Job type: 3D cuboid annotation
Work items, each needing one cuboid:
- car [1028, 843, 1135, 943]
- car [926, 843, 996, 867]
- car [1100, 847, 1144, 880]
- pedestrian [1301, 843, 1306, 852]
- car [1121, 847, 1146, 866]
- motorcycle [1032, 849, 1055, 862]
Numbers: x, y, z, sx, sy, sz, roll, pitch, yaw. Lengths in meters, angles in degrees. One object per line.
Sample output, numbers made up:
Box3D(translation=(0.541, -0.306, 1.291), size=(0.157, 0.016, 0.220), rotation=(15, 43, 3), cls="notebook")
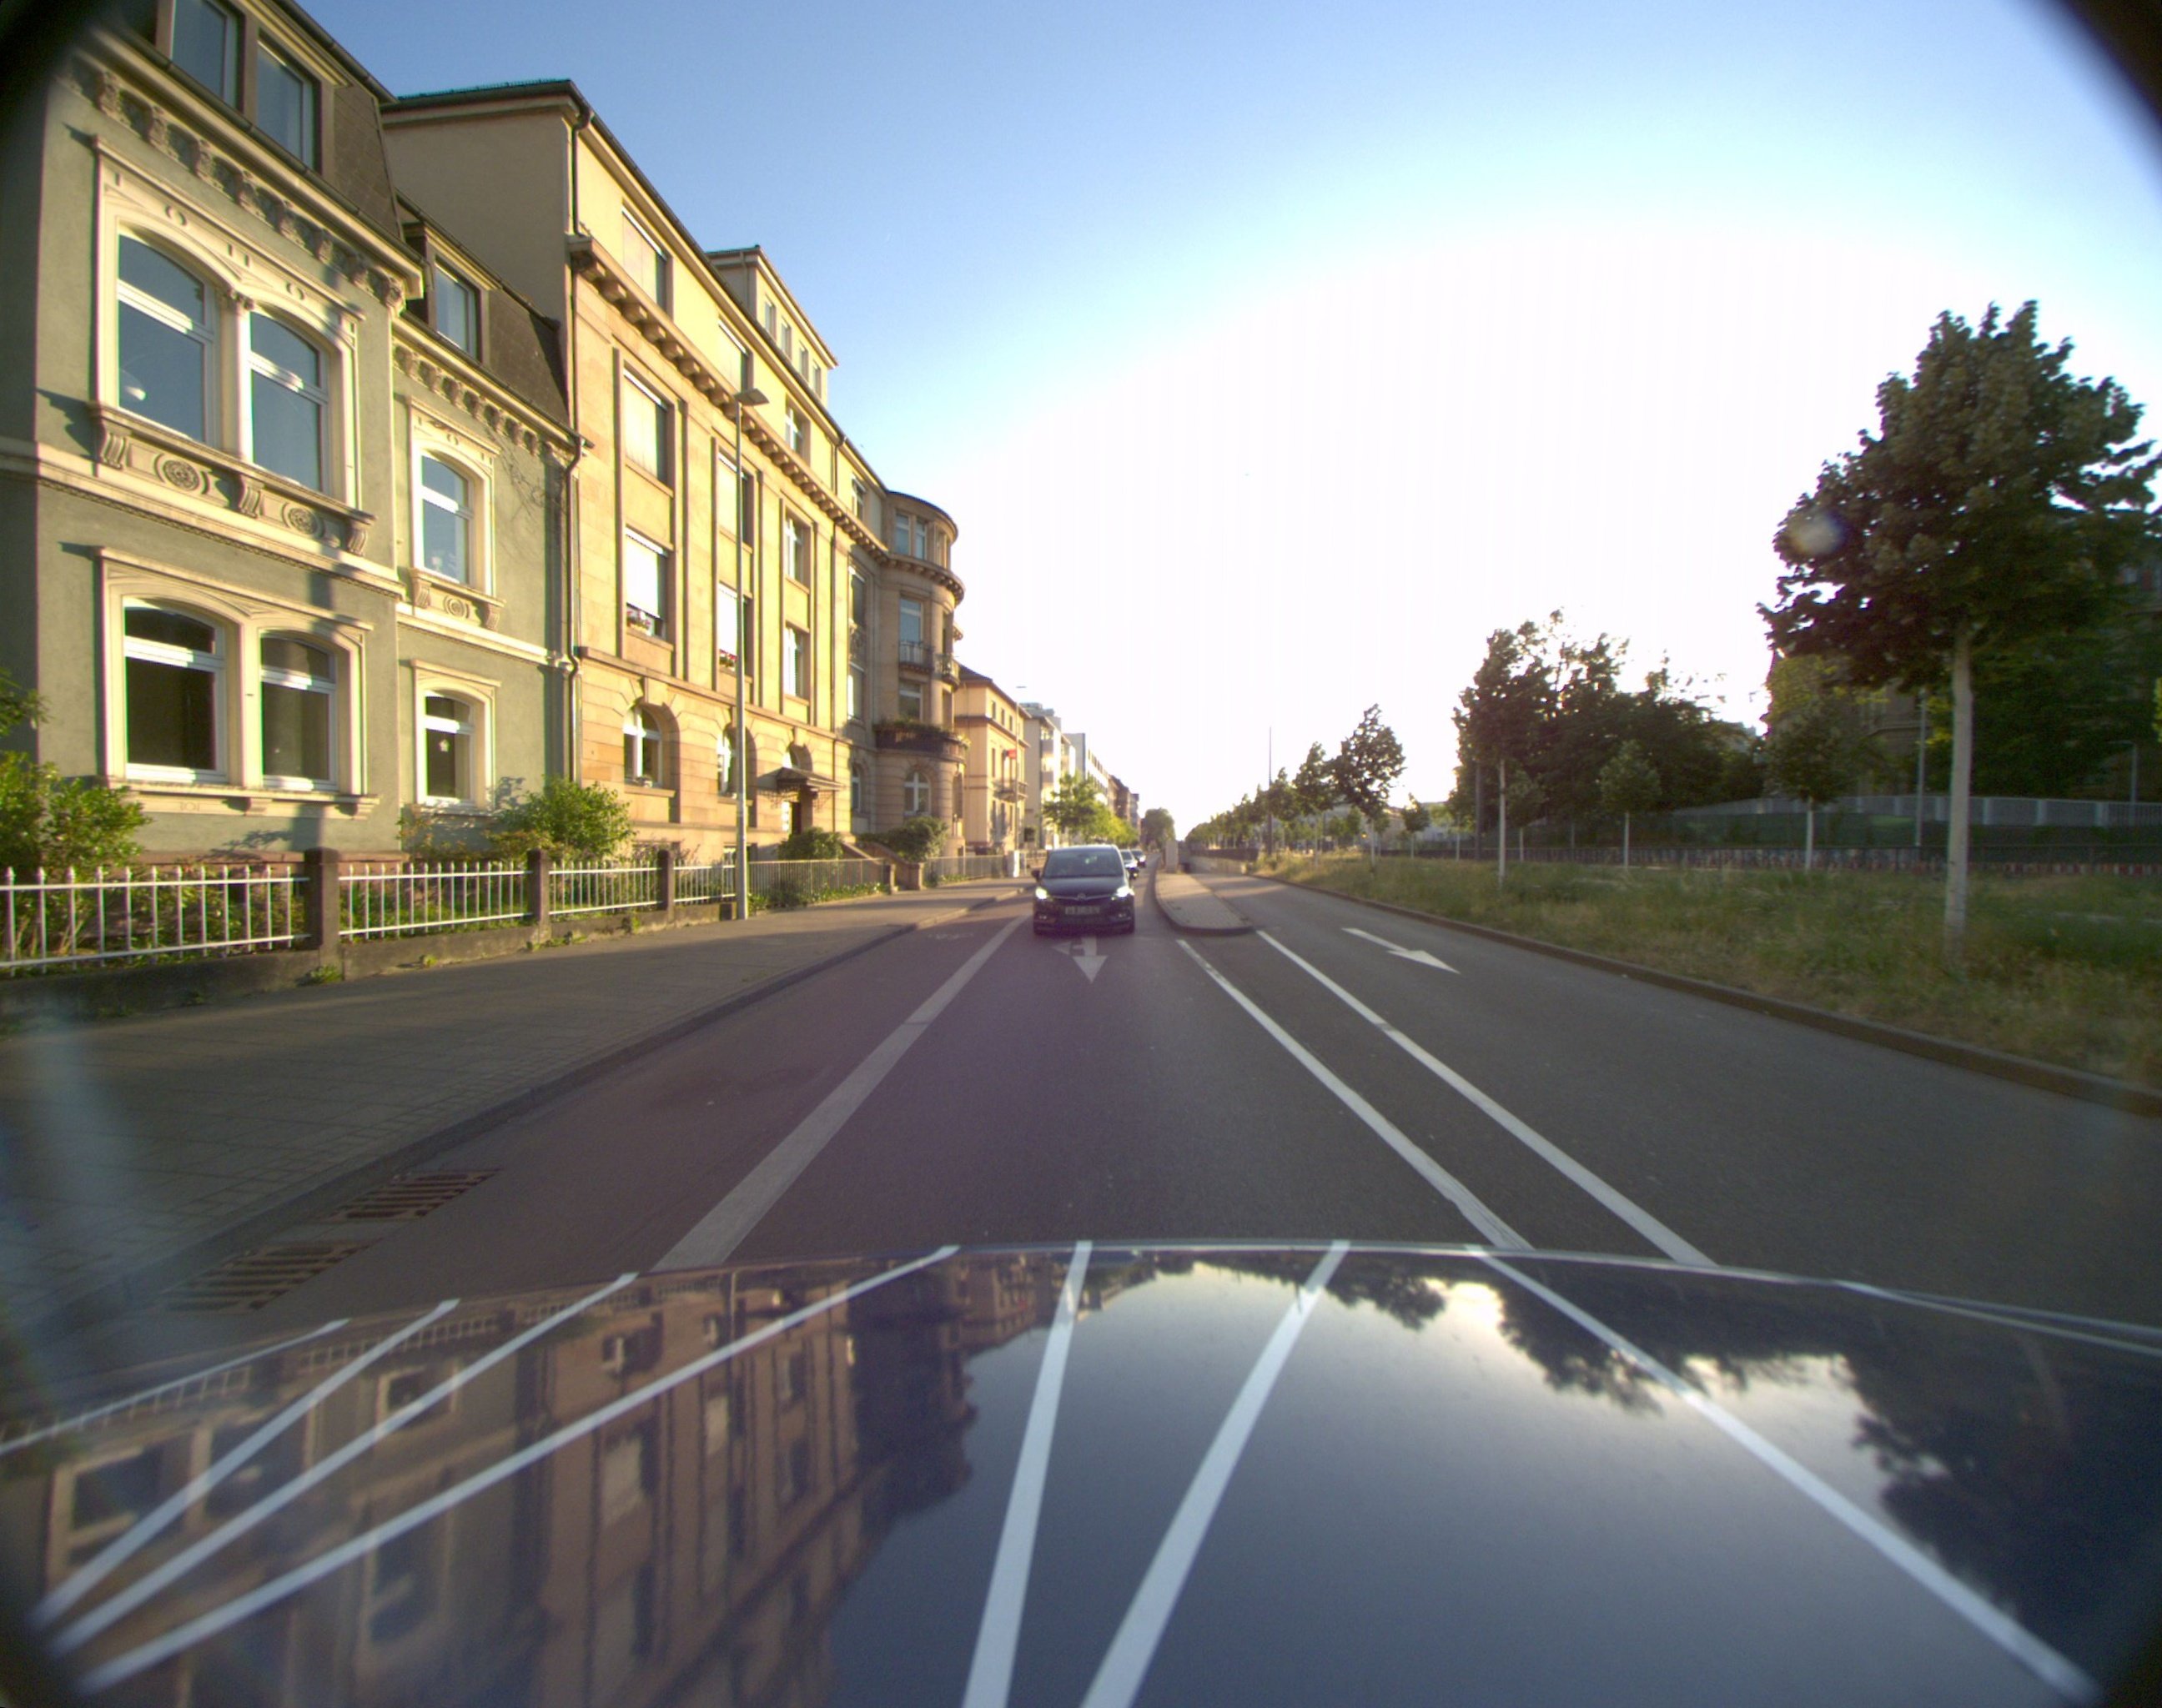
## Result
Box3D(translation=(0.107, 0.620, 15.110), size=(1.770, 1.649, 4.852), rotation=(0, 1, 2), cls="car")
Box3D(translation=(-7.783, 0.047, 49.610), size=(4.095, 1.472, 1.939), rotation=(-1, 1, 6), cls="car")
Box3D(translation=(2.044, 0.441, 36.512), size=(1.858, 1.425, 4.845), rotation=(-1, -1, 6), cls="car")
Box3D(translation=(47.744, -1.448, 163.029), size=(0.811, 1.836, 0.837), rotation=(-2, 1, 1), cls="pedestrian")
Box3D(translation=(4.277, 0.247, 61.323), size=(1.858, 1.425, 4.845), rotation=(-1, -1, 5), cls="car")
Box3D(translation=(-3.235, 0.120, 65.693), size=(1.847, 1.090, 0.576), rotation=(-1, 1, 11), cls="motorcycle")
